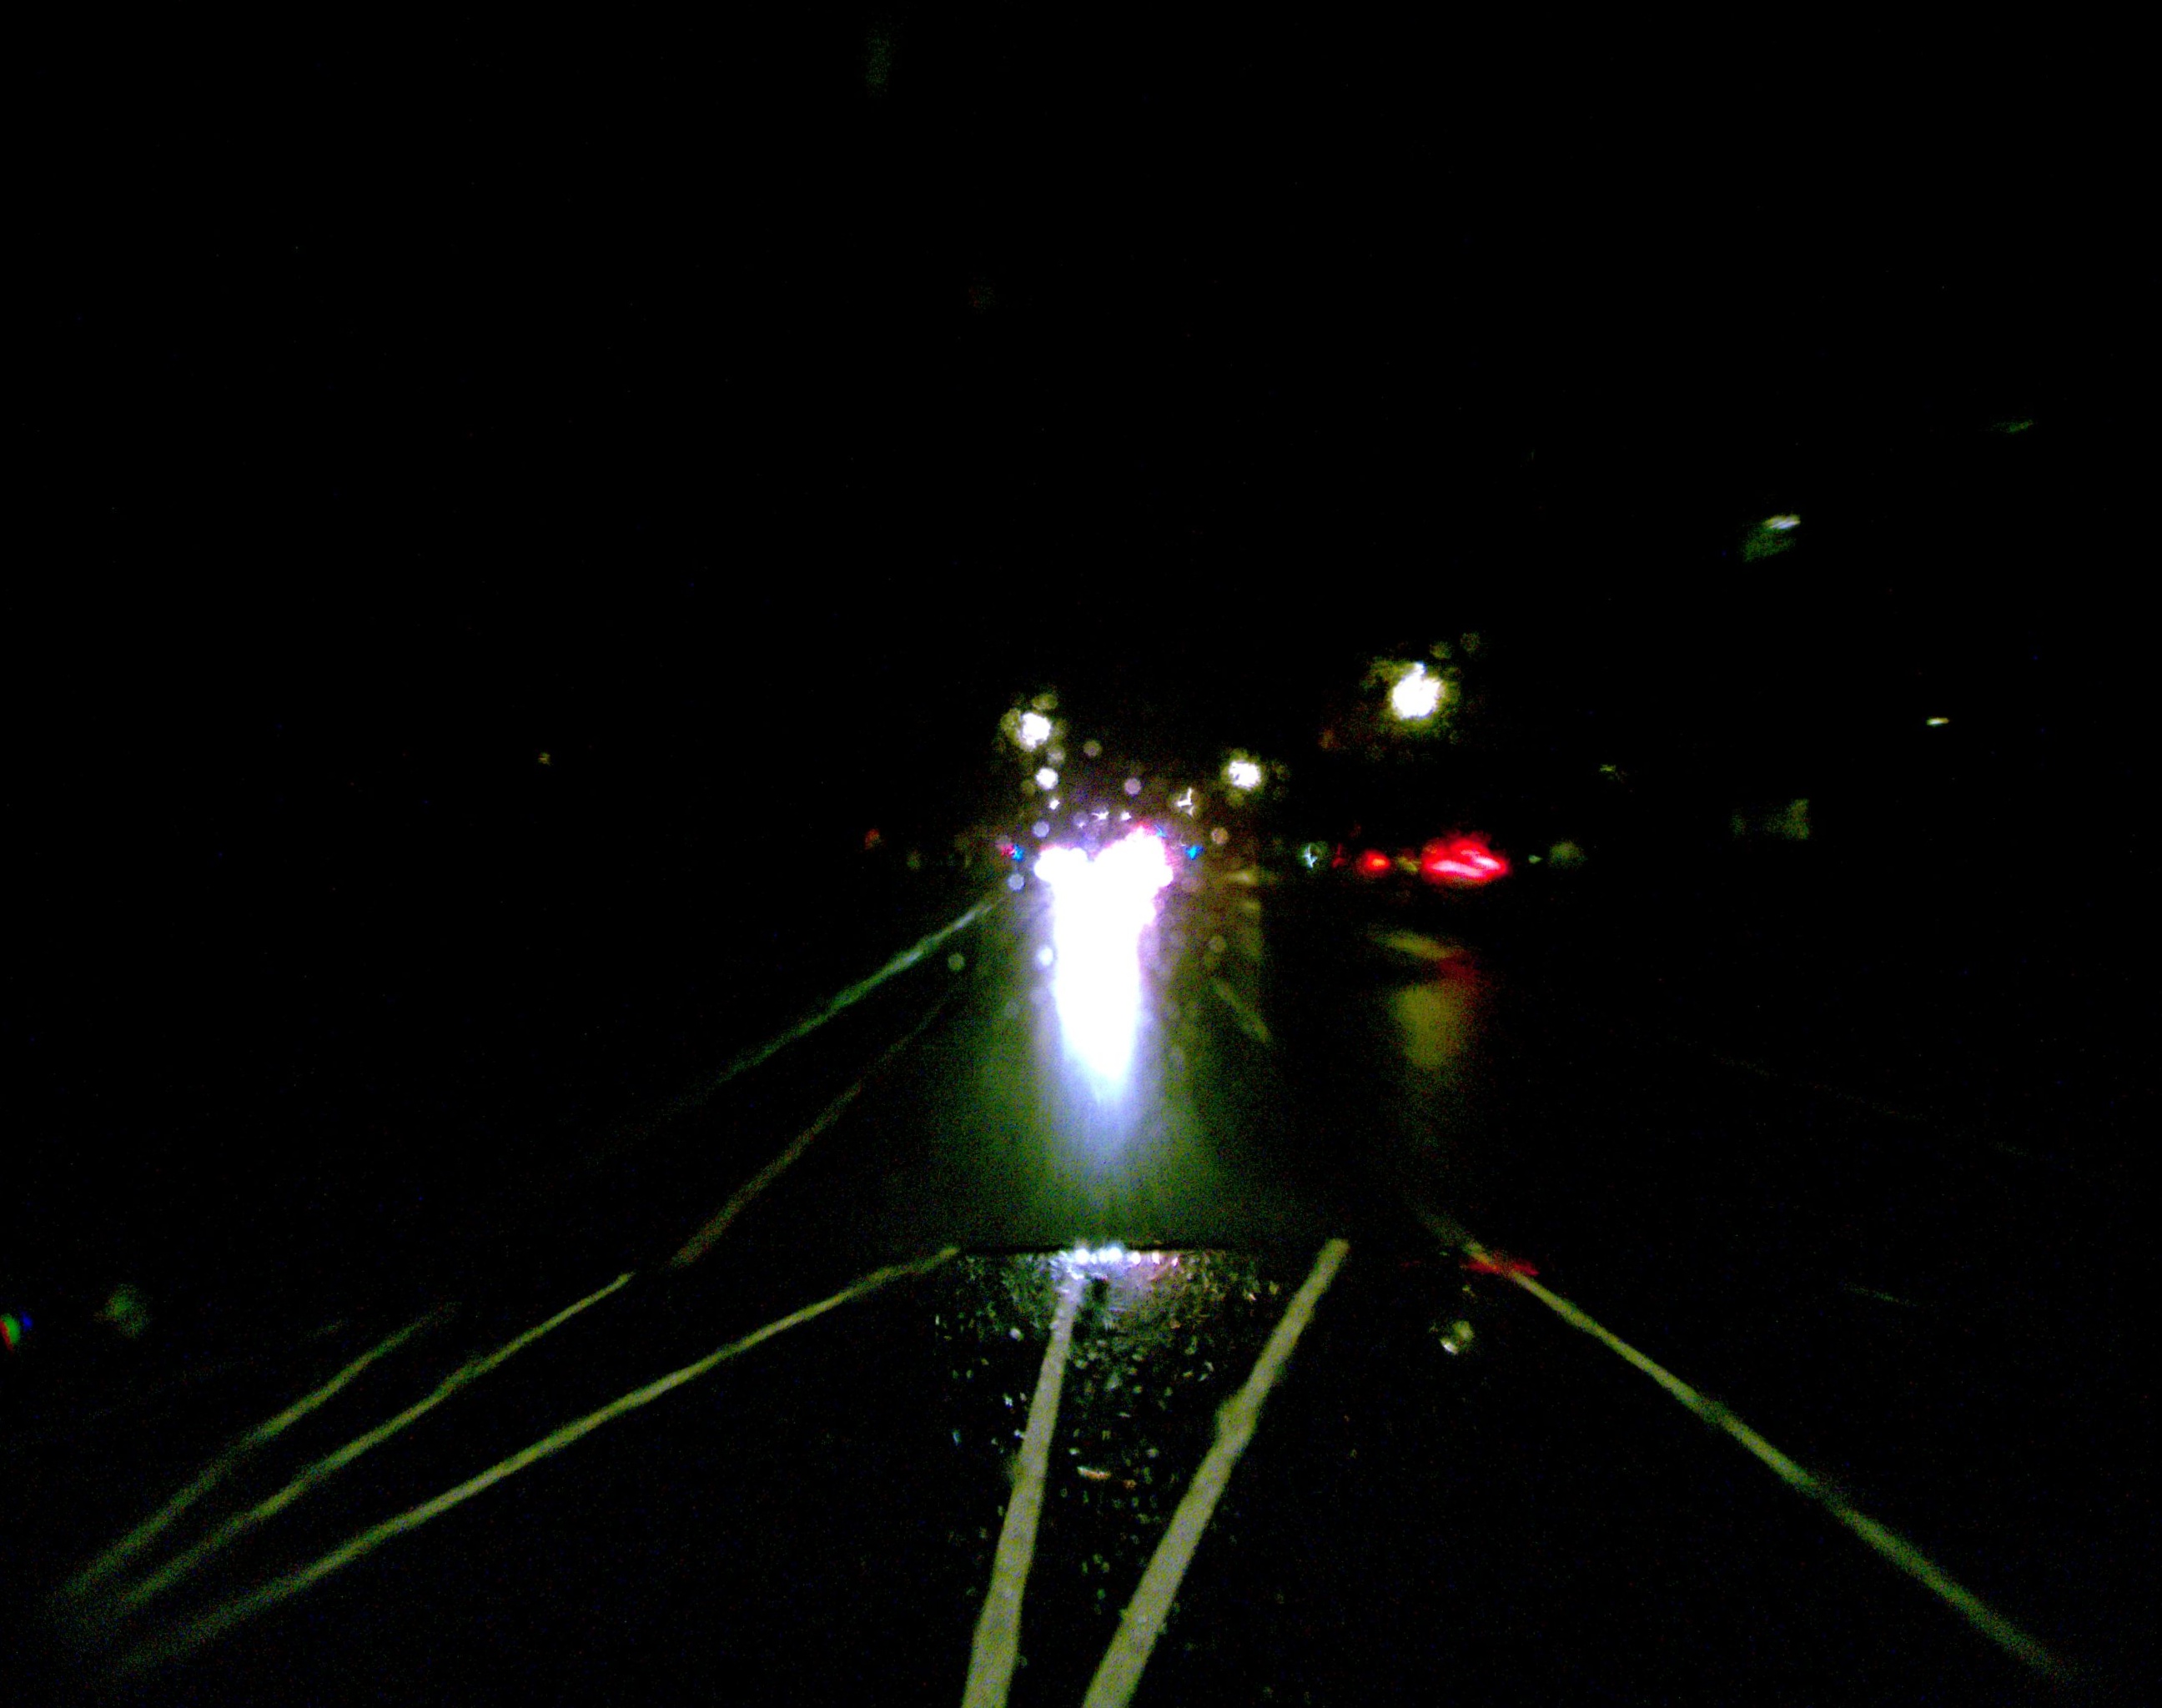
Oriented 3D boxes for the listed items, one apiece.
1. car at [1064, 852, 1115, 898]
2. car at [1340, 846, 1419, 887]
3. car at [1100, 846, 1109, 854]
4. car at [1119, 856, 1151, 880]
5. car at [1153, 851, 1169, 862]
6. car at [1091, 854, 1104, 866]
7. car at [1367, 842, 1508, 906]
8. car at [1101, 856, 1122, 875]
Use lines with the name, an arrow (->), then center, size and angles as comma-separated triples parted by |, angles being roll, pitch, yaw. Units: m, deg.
car -> 0.311, 0.812, 32.104 | 1.950, 1.709, 4.441 | -2, 1, -1
car -> 12.565, 0.497, 32.243 | 1.711, 1.568, 3.819 | -2, 1, -2
car -> 5.122, -0.960, 167.246 | 1.834, 1.696, 4.193 | -2, 1, -1
car -> 3.876, 0.978, 55.402 | 1.834, 1.518, 4.873 | -2, 1, -1
car -> 11.480, 0.334, 109.440 | 1.711, 1.568, 3.819 | -2, 1, -2
car -> 2.630, 0.891, 119.706 | 1.834, 1.696, 4.193 | -2, 1, -1
car -> 9.970, 0.507, 21.659 | 1.848, 1.583, 4.255 | 2, 0, -2
car -> 3.079, 1.153, 77.560 | 1.834, 1.696, 4.193 | -2, 1, -1
